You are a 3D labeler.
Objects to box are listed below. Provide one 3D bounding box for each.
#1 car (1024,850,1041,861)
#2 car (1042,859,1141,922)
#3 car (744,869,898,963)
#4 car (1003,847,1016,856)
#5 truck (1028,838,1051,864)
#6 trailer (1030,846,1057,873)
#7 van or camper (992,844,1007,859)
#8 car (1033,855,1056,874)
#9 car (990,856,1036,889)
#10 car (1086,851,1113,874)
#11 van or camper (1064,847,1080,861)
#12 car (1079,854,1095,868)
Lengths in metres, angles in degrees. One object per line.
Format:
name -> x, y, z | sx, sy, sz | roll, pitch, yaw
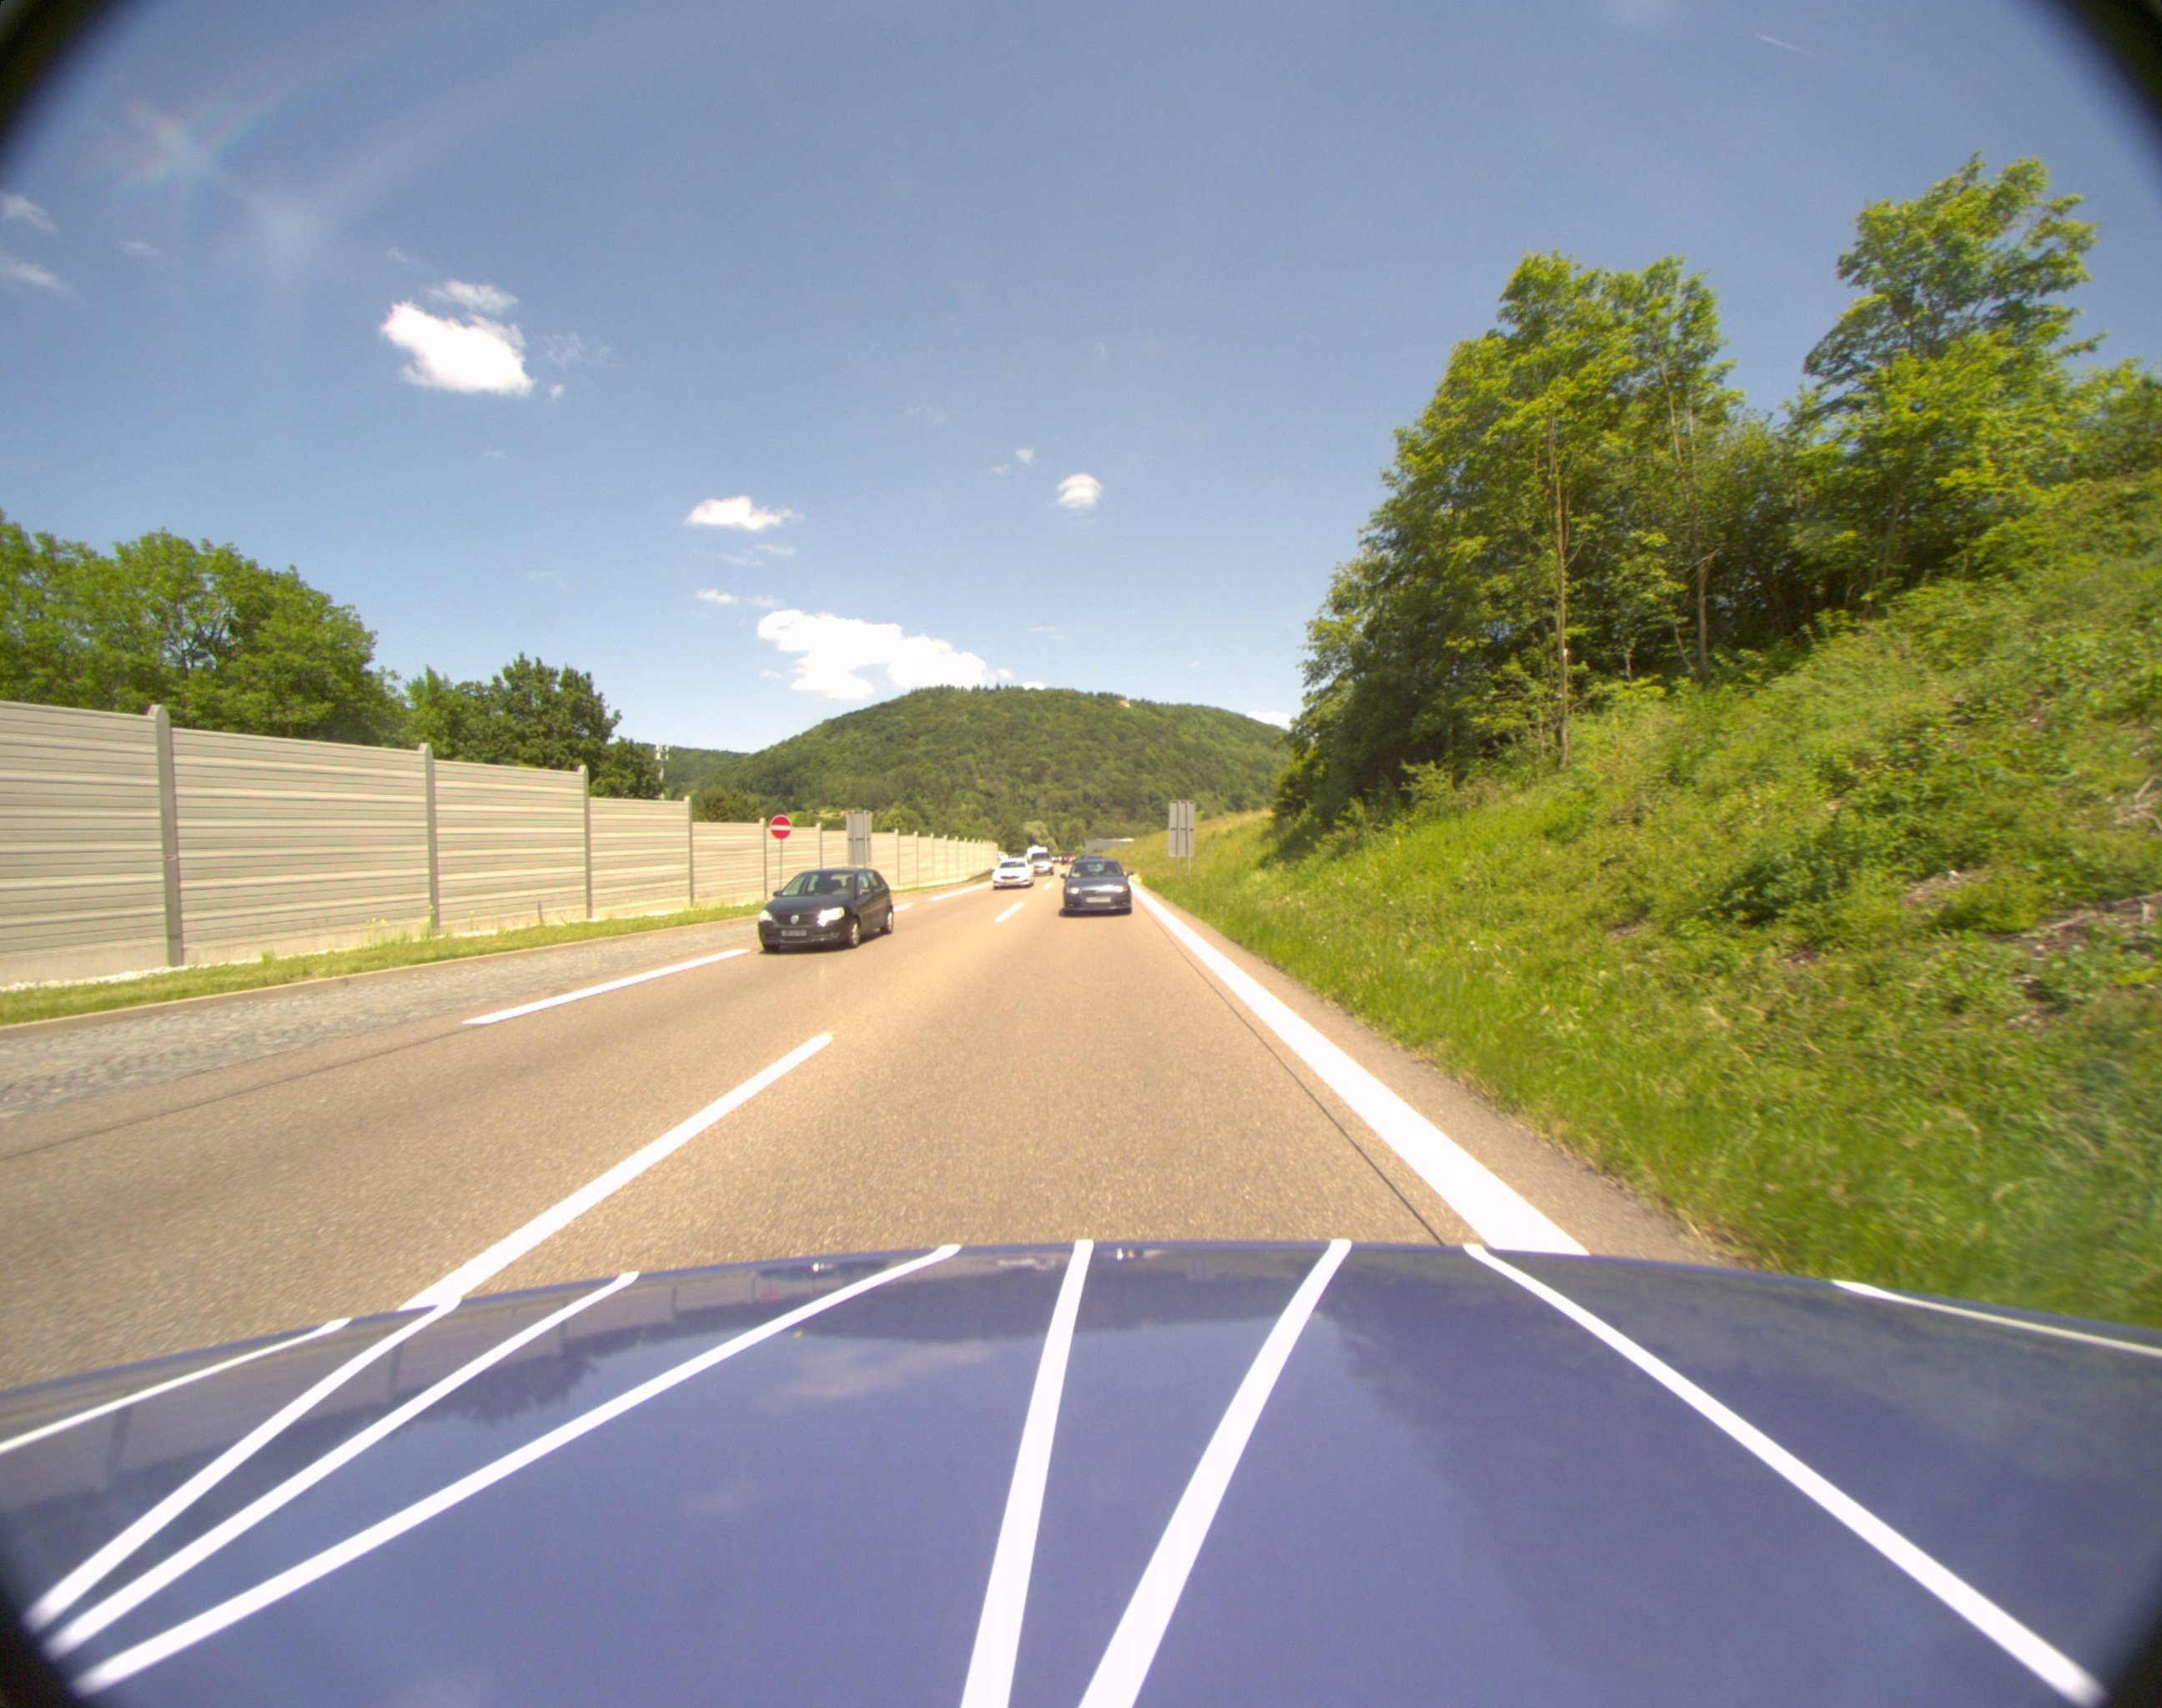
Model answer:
car -> -7.776, 0.198, 120.779 | 1.700, 1.523, 3.675 | -6, 1, -18
car -> 0.160, 0.876, 19.954 | 1.757, 1.382, 4.051 | -3, 0, -11
car -> -4.811, 1.071, 14.649 | 1.696, 1.414, 3.837 | -2, 1, -2
car -> -16.925, -0.534, 179.552 | 2.001, 2.002, 3.993 | -3, 1, -20
truck -> -5.494, -0.410, 100.009 | 2.603, 3.089, 6.854 | -5, 1, -5
trailer -> -3.059, 0.434, 61.541 | 1.999, 1.959, 3.997 | -2, 2, -5
van or camper -> -17.641, -0.475, 164.507 | 1.912, 3.010, 4.866 | -3, 1, -21
car -> -2.724, 0.797, 57.799 | 1.488, 1.375, 3.738 | -1, 0, 1
car -> -3.308, 0.874, 37.755 | 1.907, 1.422, 3.721 | -2, 1, 0
car -> 1.288, 0.584, 52.198 | 1.695, 1.422, 3.463 | -3, 0, 2
van or camper -> -1.237, -0.047, 106.313 | 1.818, 1.855, 3.611 | -4, 1, -7
car -> 0.626, 0.683, 76.363 | 1.286, 1.305, 3.453 | -3, 1, 4
